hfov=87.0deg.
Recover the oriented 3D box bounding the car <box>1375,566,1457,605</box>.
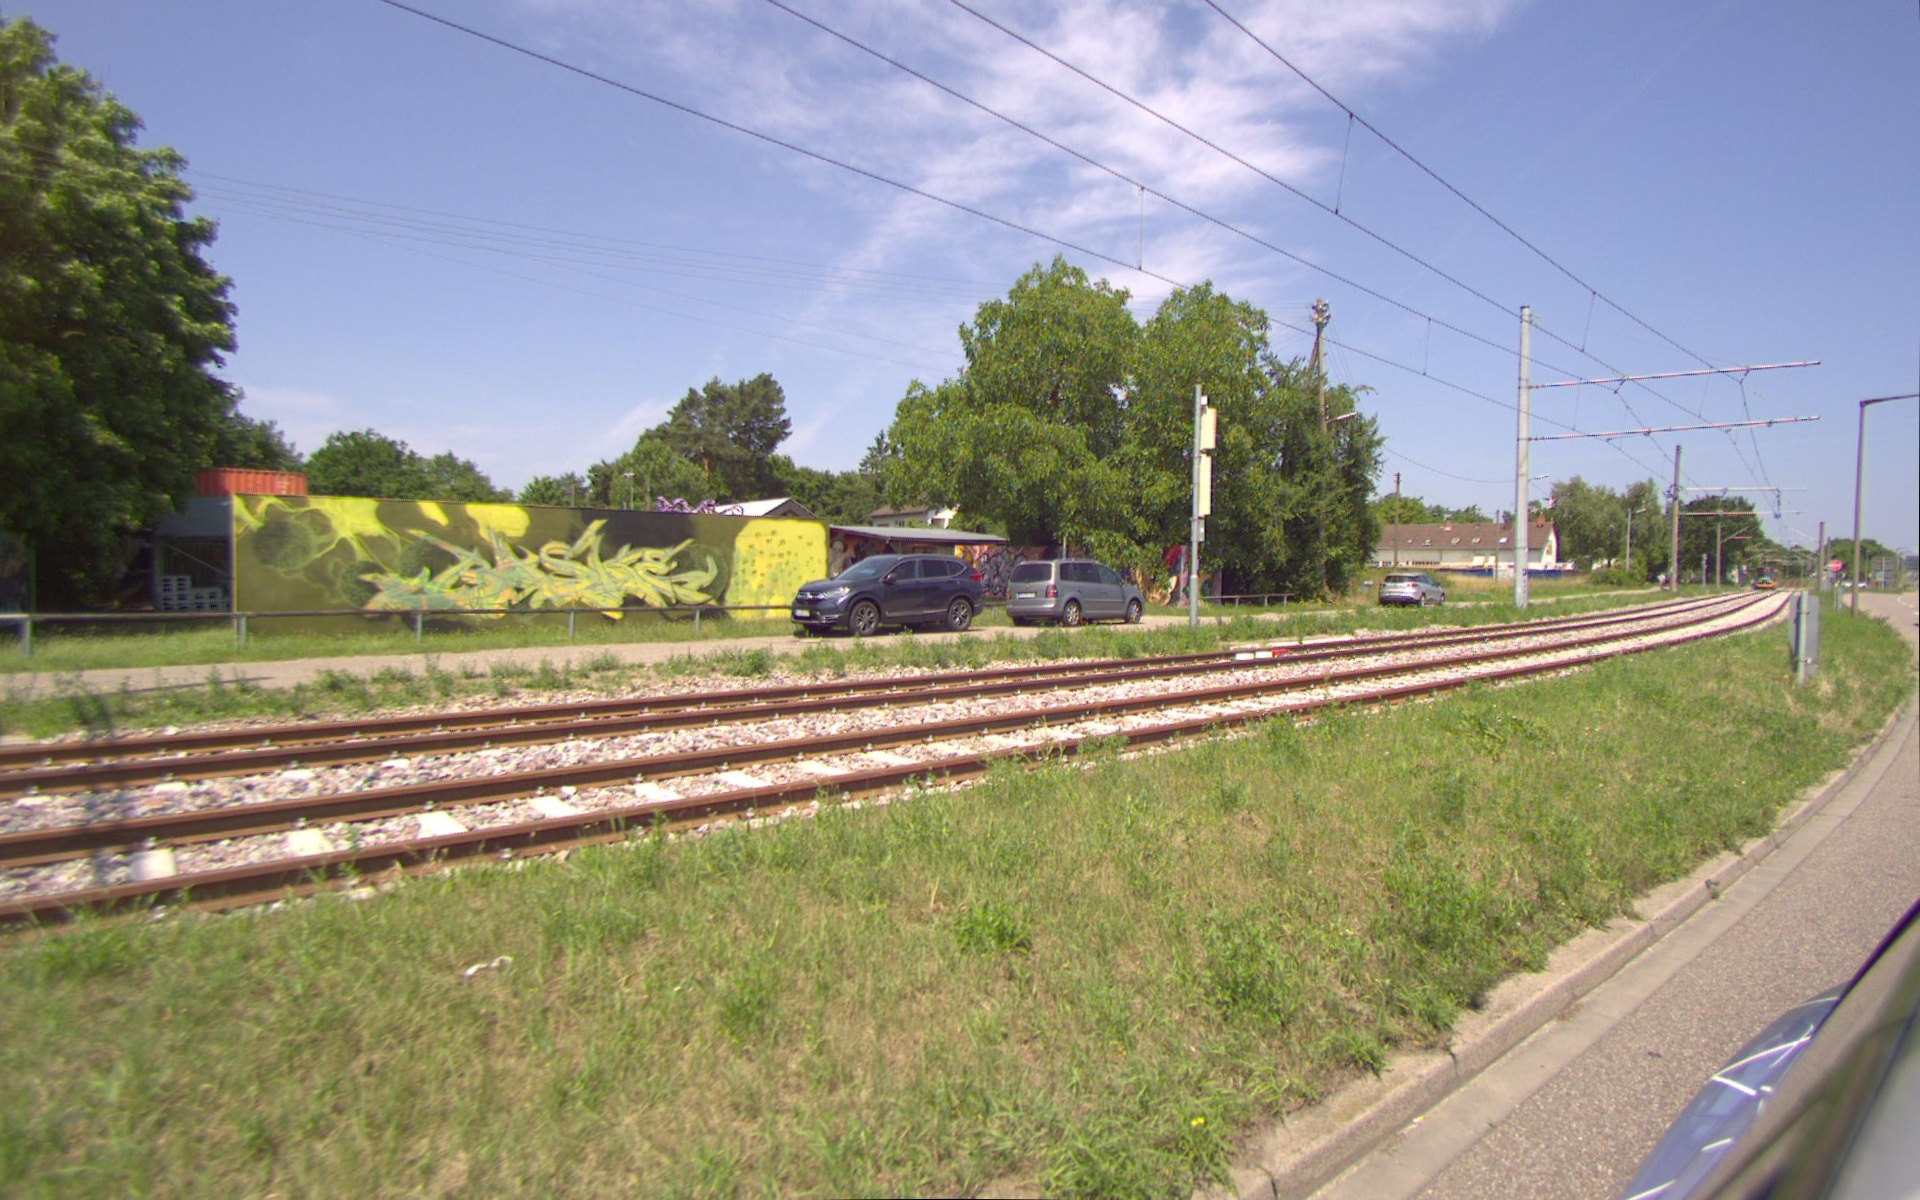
[{"bbox_3d":[18.973,-0.646,41.992,1.681,1.431,4.479,2,4,44],"label":"car"}]

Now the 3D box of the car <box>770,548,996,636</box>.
[{"bbox_3d":[-1.530,-0.263,21.535,4.737,1.677,1.829,-3,3,-44],"label":"car"}]

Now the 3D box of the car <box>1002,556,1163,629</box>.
[{"bbox_3d":[3.191,-0.264,25.622,1.676,1.644,4.639,2,3,43],"label":"car"}]
